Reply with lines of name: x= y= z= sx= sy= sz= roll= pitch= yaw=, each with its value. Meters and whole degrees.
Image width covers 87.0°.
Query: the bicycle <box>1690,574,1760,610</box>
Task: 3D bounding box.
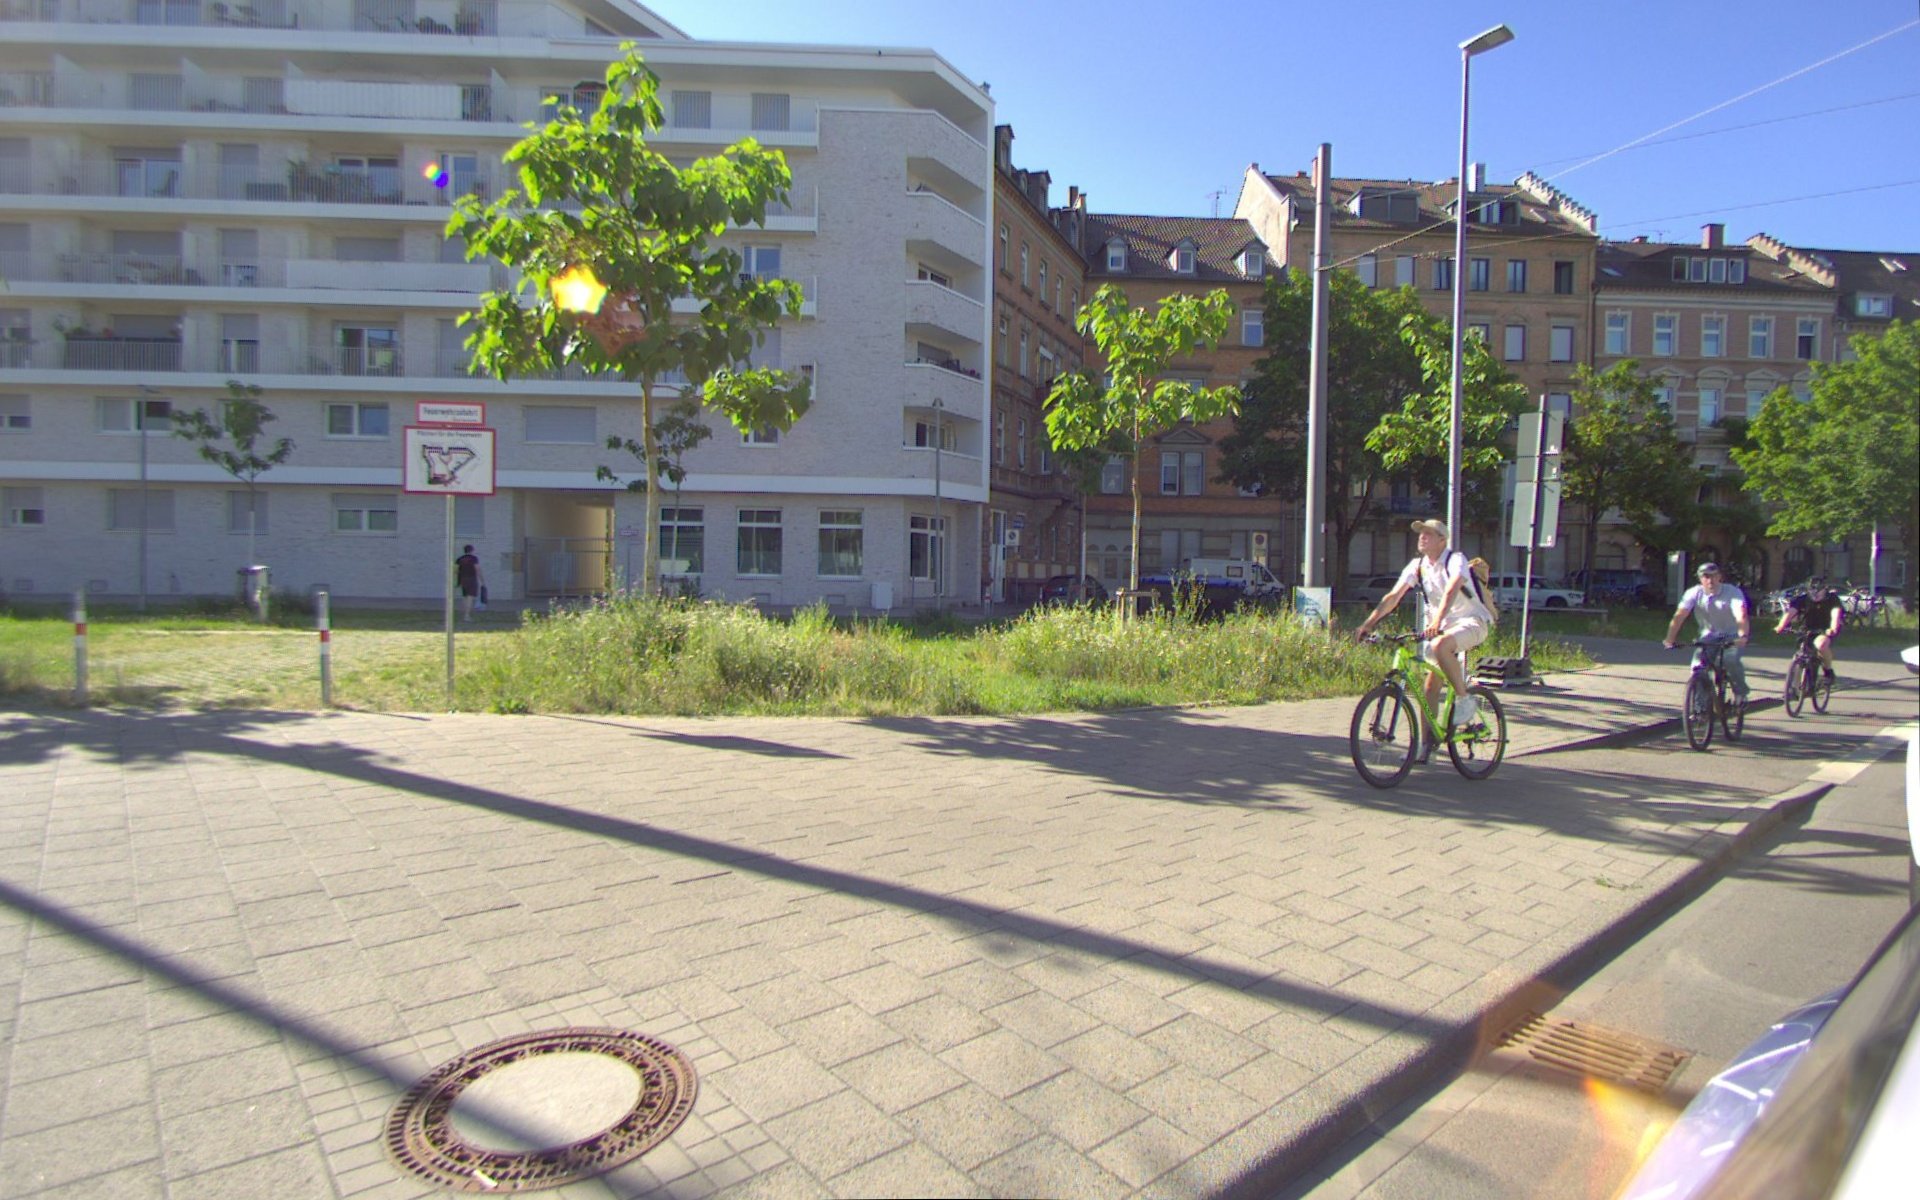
bicycle: x=28.367 y=-0.310 z=37.569 sx=0.649 sy=1.284 sz=2.208 roll=0 pitch=0 yaw=-11

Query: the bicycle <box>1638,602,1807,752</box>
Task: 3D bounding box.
bicycle: x=7.725 y=0.708 z=10.226 sx=2.114 sy=1.317 sz=0.759 roll=-1 pitch=2 yaw=-36

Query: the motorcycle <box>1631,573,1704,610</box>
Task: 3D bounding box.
motorcycle: x=26.152 y=-0.321 z=37.473 sx=0.649 sy=1.339 sz=2.208 roll=0 pitch=0 yaw=-23

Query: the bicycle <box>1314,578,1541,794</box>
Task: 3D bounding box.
bicycle: x=3.355 y=0.537 z=7.205 sx=1.717 sy=1.343 sz=0.716 roll=0 pitch=2 yaw=-38

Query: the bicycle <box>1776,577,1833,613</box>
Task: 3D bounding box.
bicycle: x=30.938 y=-0.185 z=37.115 sx=0.653 sy=1.284 sz=2.196 roll=0 pitch=0 yaw=12

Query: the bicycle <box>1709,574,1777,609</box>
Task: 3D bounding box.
bicycle: x=29.721 y=-0.326 z=38.468 sx=0.649 sy=1.284 sz=2.208 roll=0 pitch=0 yaw=-9

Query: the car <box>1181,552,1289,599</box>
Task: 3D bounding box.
car: x=12.658 y=-1.156 z=46.787 sx=4.416 sy=2.062 sz=2.054 roll=1 pitch=2 yaw=0

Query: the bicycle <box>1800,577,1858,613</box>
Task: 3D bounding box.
bicycle: x=32.032 y=-0.192 z=37.338 sx=0.653 sy=1.284 sz=2.196 roll=0 pitch=0 yaw=12

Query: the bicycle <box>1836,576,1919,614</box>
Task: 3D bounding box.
bicycle: x=31.627 y=-0.166 z=34.768 sx=2.180 sy=1.284 sz=0.657 roll=0 pitch=0 yaw=25

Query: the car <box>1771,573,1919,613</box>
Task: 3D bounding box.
car: x=34.683 y=-0.320 z=39.597 sx=1.651 sy=1.423 sz=4.324 roll=-1 pitch=3 yaw=-38

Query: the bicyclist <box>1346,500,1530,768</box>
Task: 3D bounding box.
bicyclist: x=3.409 y=0.206 z=7.215 sx=1.074 sy=1.747 sz=0.716 roll=0 pitch=2 yaw=-38

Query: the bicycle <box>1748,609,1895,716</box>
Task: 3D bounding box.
bicycle: x=10.704 y=0.730 z=12.557 sx=2.110 sy=1.212 sz=0.639 roll=0 pitch=1 yaw=-28

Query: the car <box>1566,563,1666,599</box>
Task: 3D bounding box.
car: x=30.873 y=-0.921 z=47.654 sx=3.631 sy=1.607 sz=1.552 roll=1 pitch=2 yaw=0

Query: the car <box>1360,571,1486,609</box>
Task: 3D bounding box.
car: x=17.346 y=-0.422 z=38.112 sx=1.648 sy=1.267 sz=4.170 roll=0 pitch=3 yaw=-28

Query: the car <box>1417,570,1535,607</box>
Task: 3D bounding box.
car: x=19.670 y=-0.468 z=38.722 sx=1.648 sy=1.267 sz=3.709 roll=0 pitch=3 yaw=-28

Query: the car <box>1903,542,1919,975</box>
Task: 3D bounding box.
car: x=5.866 y=0.610 z=4.721 sx=4.323 sy=1.667 sz=1.840 roll=0 pitch=0 yaw=-43

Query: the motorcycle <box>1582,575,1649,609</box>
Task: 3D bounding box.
motorcycle: x=26.024 y=-0.328 z=40.230 sx=0.649 sy=1.293 sz=2.324 roll=0 pitch=0 yaw=-18

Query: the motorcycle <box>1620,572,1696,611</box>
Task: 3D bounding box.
motorcycle: x=25.336 y=-0.306 z=36.784 sx=0.650 sy=1.347 sz=2.207 roll=0 pitch=0 yaw=-28

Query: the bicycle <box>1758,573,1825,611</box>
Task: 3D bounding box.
bicycle: x=29.271 y=-0.292 z=35.678 sx=0.651 sy=1.284 sz=2.202 roll=0 pitch=0 yaw=4

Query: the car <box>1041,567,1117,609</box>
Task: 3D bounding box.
car: x=4.564 y=-0.506 z=38.302 sx=1.811 sy=1.444 sz=4.359 roll=1 pitch=2 yaw=21

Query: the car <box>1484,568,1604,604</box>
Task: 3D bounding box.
car: x=22.326 y=-0.579 z=38.778 sx=1.513 sy=1.267 sz=3.700 roll=-1 pitch=3 yaw=-39

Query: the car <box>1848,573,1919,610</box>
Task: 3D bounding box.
car: x=37.820 y=-0.329 z=39.966 sx=1.649 sy=1.423 sz=3.832 roll=-1 pitch=3 yaw=-32

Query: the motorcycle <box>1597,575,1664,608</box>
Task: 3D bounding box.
motorcycle: x=26.695 y=-0.336 z=40.361 sx=0.649 sy=1.300 sz=2.324 roll=0 pitch=0 yaw=-18

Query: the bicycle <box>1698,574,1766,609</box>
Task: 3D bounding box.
bicycle: x=29.078 y=-0.319 z=38.156 sx=0.649 sy=1.284 sz=2.208 roll=0 pitch=0 yaw=-9

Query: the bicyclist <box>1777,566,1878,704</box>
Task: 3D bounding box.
bicyclist: x=10.809 y=0.412 z=12.610 sx=0.952 sy=1.649 sz=0.632 roll=0 pitch=1 yaw=-29

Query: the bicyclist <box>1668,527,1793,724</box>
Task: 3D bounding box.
bicyclist: x=7.796 y=0.226 z=10.252 sx=0.735 sy=1.889 sz=0.810 roll=-1 pitch=2 yaw=-35

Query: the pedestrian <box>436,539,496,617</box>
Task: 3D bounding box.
pedestrian: x=-11.273 y=-0.504 z=23.126 sx=0.829 sy=1.717 sz=0.985 roll=2 pitch=2 yaw=2

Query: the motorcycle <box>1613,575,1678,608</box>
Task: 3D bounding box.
motorcycle: x=27.485 y=-0.335 z=40.615 sx=0.649 sy=1.284 sz=2.209 roll=0 pitch=0 yaw=-18
